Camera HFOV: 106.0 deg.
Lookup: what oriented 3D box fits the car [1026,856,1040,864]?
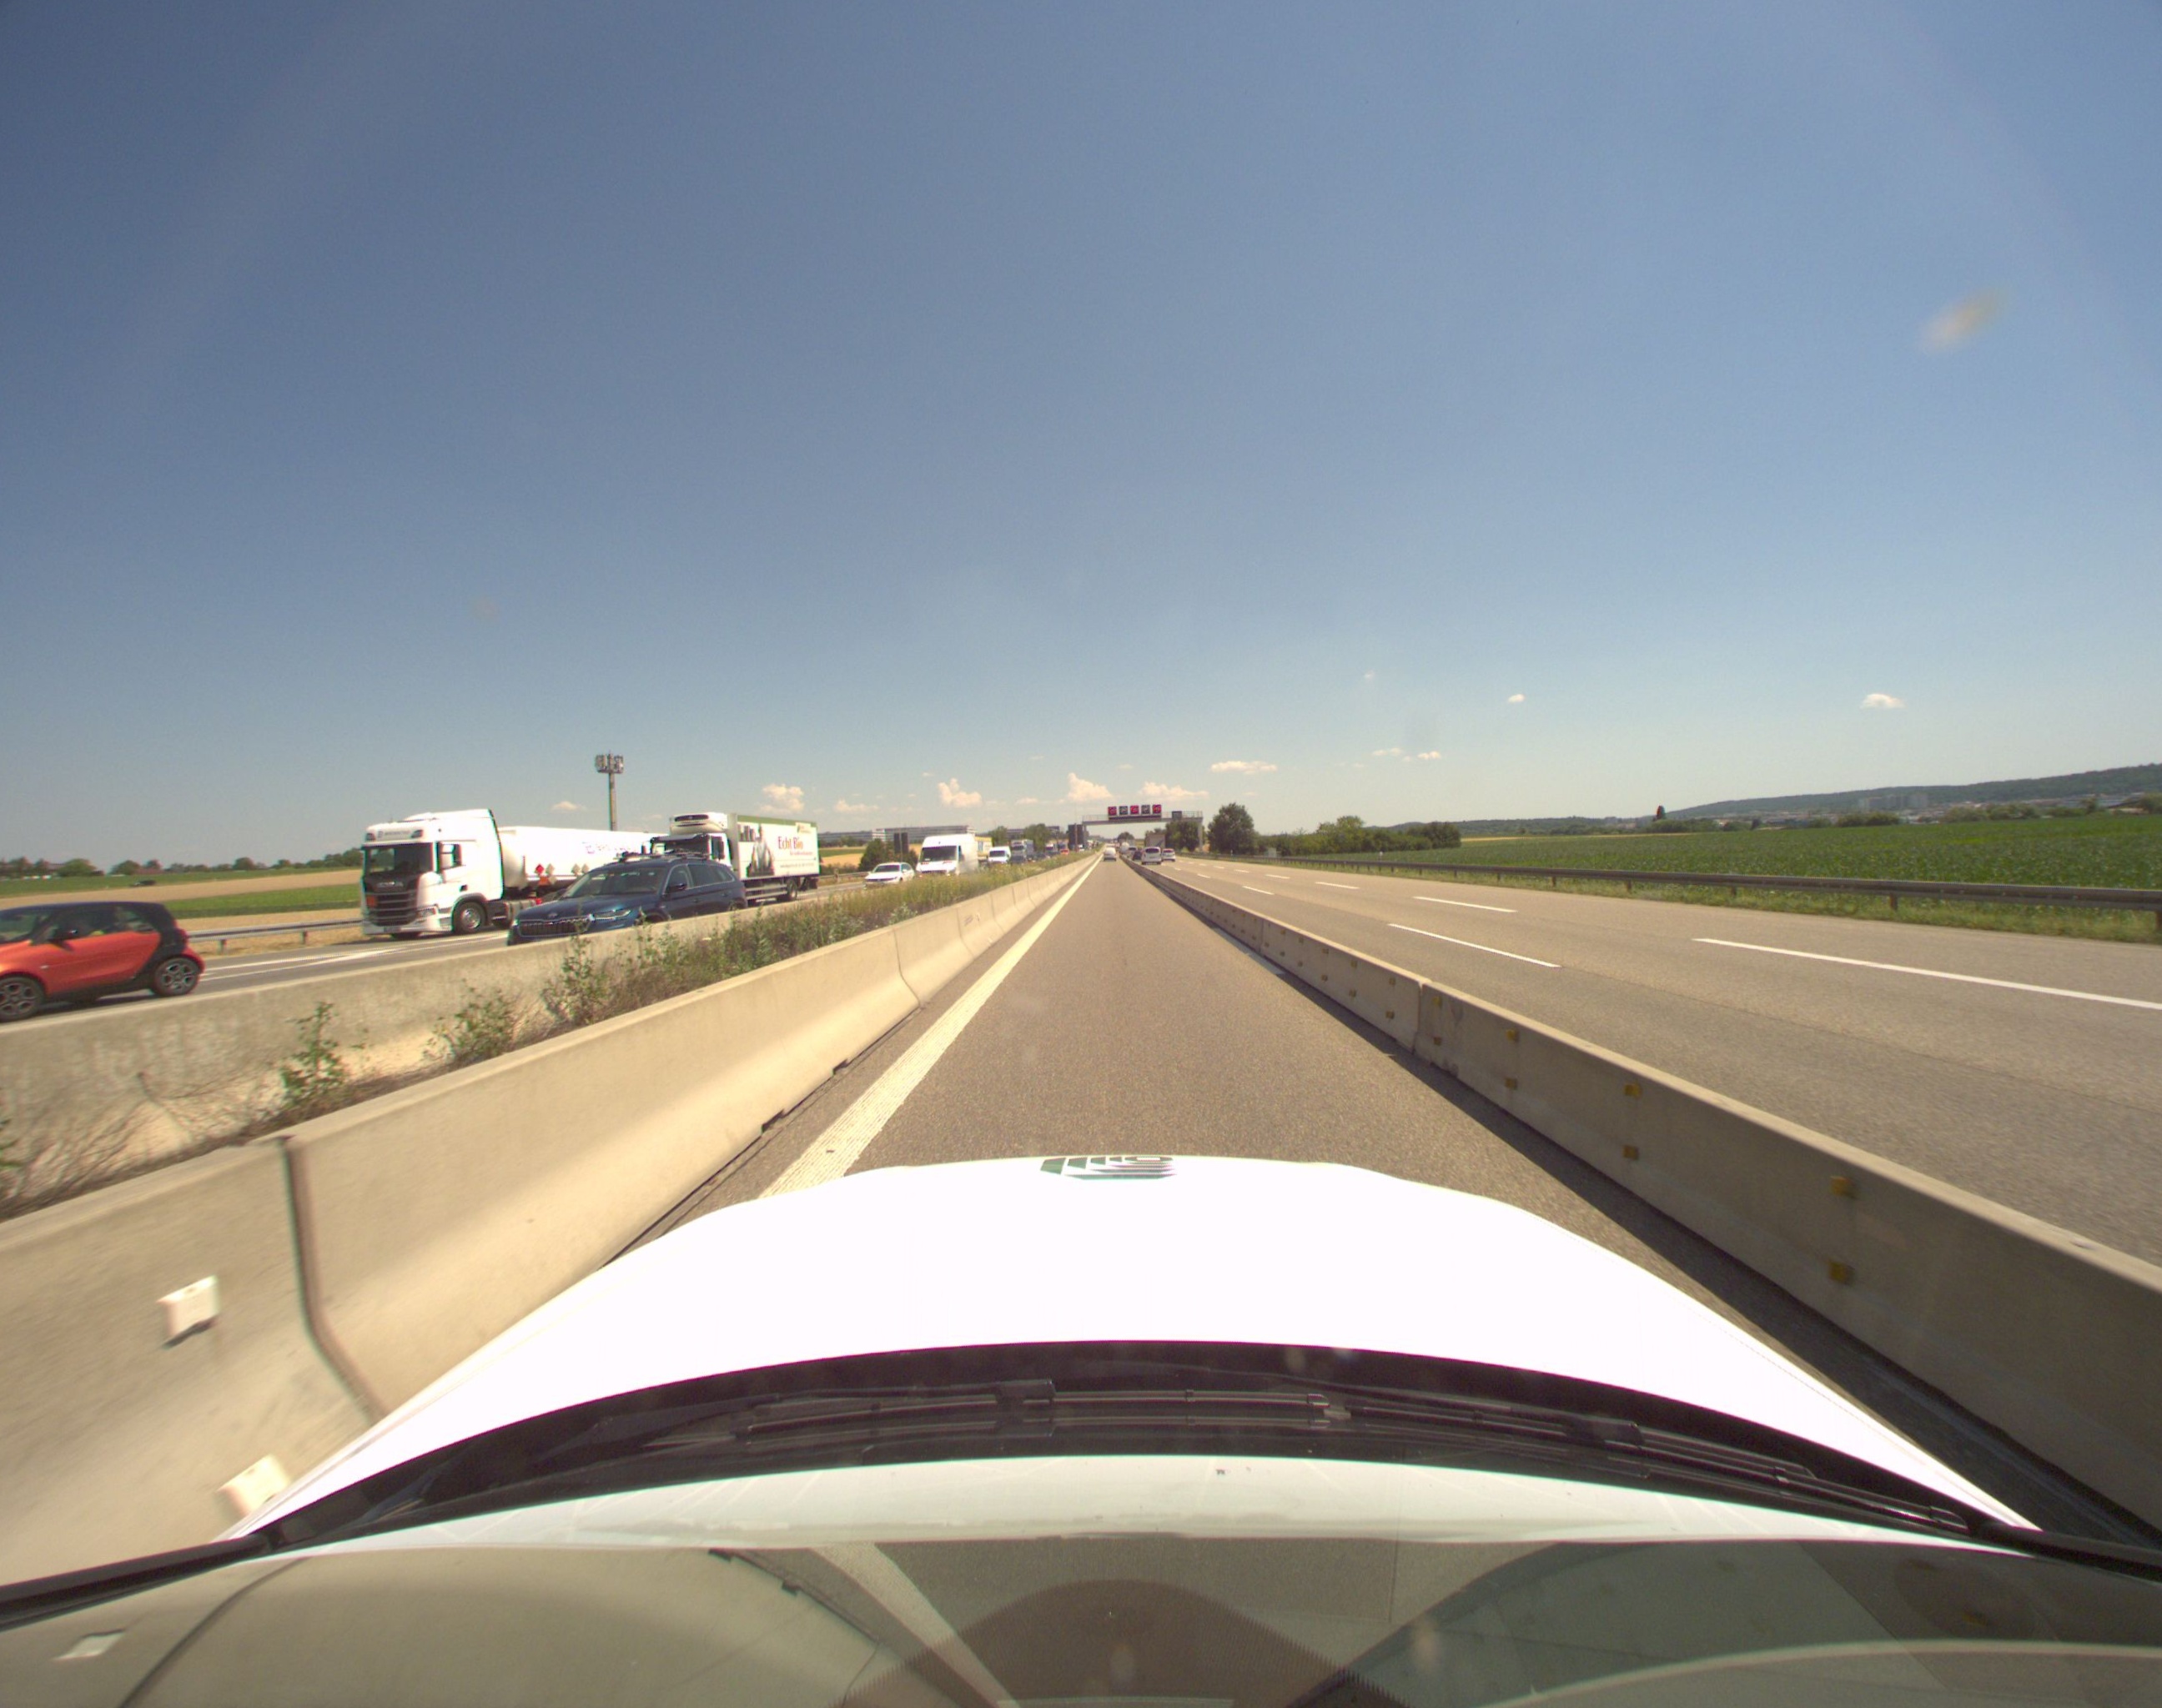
[{"bbox_3d":[-7.268,0.894,123.599,1.741,1.266,4.435,-1,-1,1],"label":"car"}]

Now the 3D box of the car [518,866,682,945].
[{"bbox_3d":[-11.832,1.196,20.370,1.553,1.622,4.046,-2,0,1],"label":"car"}]

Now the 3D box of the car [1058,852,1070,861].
[{"bbox_3d":[-3.120,0.414,148.283,1.887,1.578,4.937,-1,-1,1],"label":"car"}]

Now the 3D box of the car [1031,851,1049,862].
[{"bbox_3d":[-4.960,0.347,98.794,1.772,1.335,4.931,-1,-1,1],"label":"car"}]

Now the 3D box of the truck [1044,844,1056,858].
[{"bbox_3d":[-8.115,-0.813,215.926,2.687,3.587,4.003,-3,0,3],"label":"truck"}]

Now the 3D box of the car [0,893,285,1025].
[{"bbox_3d":[-14.716,1.490,12.186,1.557,1.516,3.939,-4,0,2],"label":"car"}]

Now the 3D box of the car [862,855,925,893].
[{"bbox_3d":[-9.717,0.987,42.614,1.880,1.709,5.522,-4,0,0],"label":"car"}]

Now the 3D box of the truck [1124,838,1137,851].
[{"bbox_3d":[16.111,-3.094,264.801,3.802,3.904,9.584,-2,0,1],"label":"truck"}]

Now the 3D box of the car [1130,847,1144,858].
[{"bbox_3d":[7.664,-0.153,111.610,1.767,1.447,4.001,-1,0,2],"label":"car"}]

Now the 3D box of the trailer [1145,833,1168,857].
[{"bbox_3d":[12.887,-1.484,139.375,3.265,3.967,9.116,-1,0,2],"label":"trailer"}]

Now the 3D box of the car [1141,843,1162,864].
[{"bbox_3d":[7.523,-0.037,87.152,1.986,2.120,4.001,-1,0,2],"label":"car"}]

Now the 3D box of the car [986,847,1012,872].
[{"bbox_3d":[-8.795,0.542,87.891,2.039,2.501,5.814,-2,0,1],"label":"car"}]

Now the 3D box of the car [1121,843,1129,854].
[{"bbox_3d":[10.211,-1.291,188.417,1.767,2.392,4.001,-1,0,2],"label":"car"}]

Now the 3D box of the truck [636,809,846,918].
[{"bbox_3d":[-13.840,0.313,35.201,2.784,3.609,13.296,-4,0,2],"label":"truck"}]

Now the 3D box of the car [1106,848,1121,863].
[{"bbox_3d":[4.560,0.276,114.307,1.986,2.014,4.001,-1,0,2],"label":"car"}]

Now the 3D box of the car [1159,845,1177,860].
[{"bbox_3d":[11.220,-0.177,104.825,1.986,1.794,4.001,-1,0,2],"label":"car"}]

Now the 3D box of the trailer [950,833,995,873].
[{"bbox_3d":[-12.245,-0.173,93.346,2.799,4.128,14.135,-2,0,1],"label":"trailer"}]

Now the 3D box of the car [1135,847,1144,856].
[{"bbox_3d":[14.113,-0.651,195.671,1.986,2.014,4.001,-1,0,2],"label":"car"}]

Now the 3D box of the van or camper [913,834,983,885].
[{"bbox_3d":[-6.360,0.223,39.782,2.028,2.221,7.210,-1,0,2],"label":"van or camper"}]

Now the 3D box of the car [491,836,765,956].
[{"bbox_3d":[-7.061,0.562,13.370,1.775,1.589,4.543,-2,0,2],"label":"car"}]

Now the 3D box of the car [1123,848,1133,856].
[{"bbox_3d":[8.442,-0.340,145.965,1.767,1.447,4.001,-1,0,2],"label":"car"}]

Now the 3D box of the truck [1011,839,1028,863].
[{"bbox_3d":[-10.735,-0.545,142.245,2.402,4.086,4.662,-2,0,2],"label":"truck"}]

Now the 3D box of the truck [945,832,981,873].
[{"bbox_3d":[-12.427,-0.146,85.990,2.800,4.128,4.843,-2,0,1],"label":"truck"}]

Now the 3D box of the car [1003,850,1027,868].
[{"bbox_3d":[-5.969,0.451,73.694,1.592,1.469,4.535,-2,0,1],"label":"car"}]

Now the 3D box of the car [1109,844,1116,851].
[{"bbox_3d":[9.566,-2.017,249.993,1.986,1.835,4.002,-1,0,2],"label":"car"}]

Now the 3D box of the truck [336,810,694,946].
[{"bbox_3d":[-19.810,0.655,30.560,2.885,3.776,13.308,-4,0,5],"label":"truck"}]
